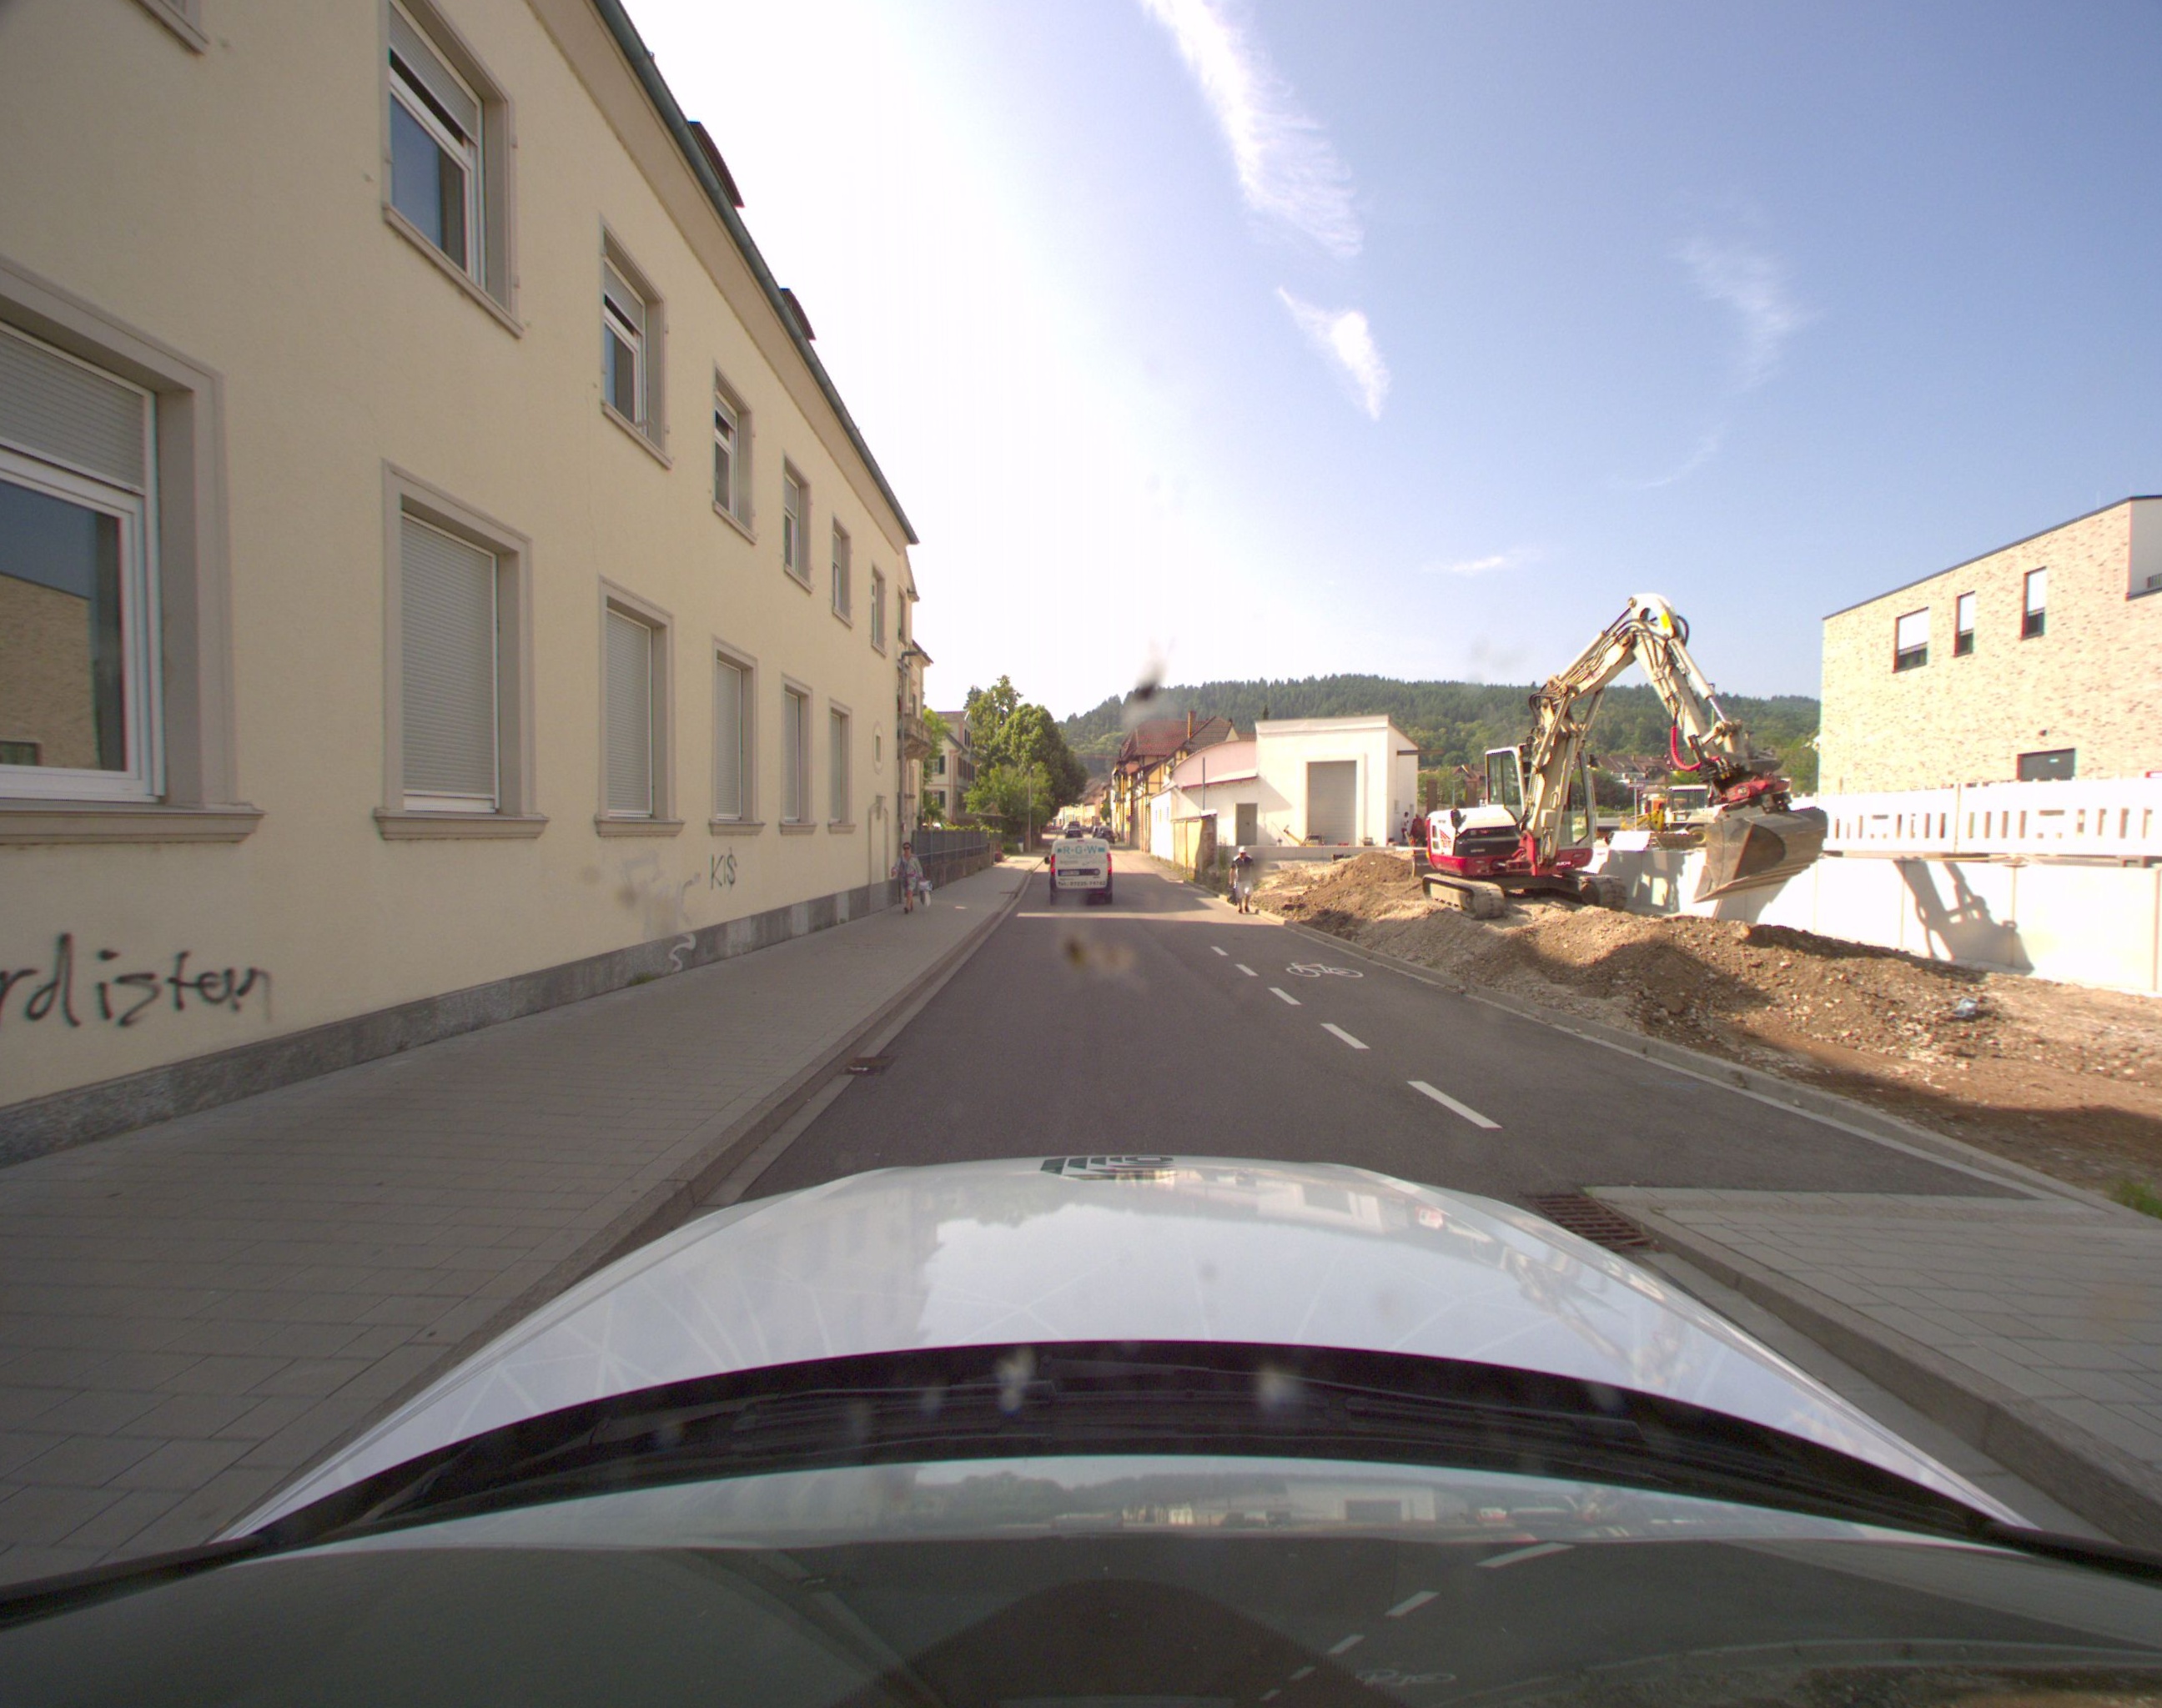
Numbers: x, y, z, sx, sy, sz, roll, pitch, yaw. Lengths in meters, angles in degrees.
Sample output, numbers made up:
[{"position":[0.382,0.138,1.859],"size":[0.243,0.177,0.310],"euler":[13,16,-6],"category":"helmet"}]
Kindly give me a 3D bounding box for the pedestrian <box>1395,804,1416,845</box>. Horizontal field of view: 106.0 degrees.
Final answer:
[{"position":[15.384,-1.401,38.633],"size":[0.611,1.896,0.628],"euler":[0,3,-44],"category":"pedestrian"}]

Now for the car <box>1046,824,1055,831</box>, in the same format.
[{"position":[-8.326,-7.216,220.877],"size":[1.773,1.798,3.985],"euler":[0,2,-12],"category":"car"}]

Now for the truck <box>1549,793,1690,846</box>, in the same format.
[{"position":[25.179,-1.572,38.343],"size":[5.266,2.265,2.232],"euler":[-1,1,25],"category":"truck"}]

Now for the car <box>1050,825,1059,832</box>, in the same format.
[{"position":[-7.123,-6.852,215.523],"size":[1.773,1.798,3.985],"euler":[0,2,-12],"category":"car"}]

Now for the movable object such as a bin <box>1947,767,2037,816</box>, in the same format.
[{"position":[29.119,-1.989,26.068],"size":[1.291,1.463,1.324],"euler":[3,2,9],"category":"movable object such as a bin"}]

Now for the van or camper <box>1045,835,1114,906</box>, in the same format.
[{"position":[-0.086,0.392,24.181],"size":[1.823,1.844,4.186],"euler":[-1,2,-2],"category":"van or camper"}]

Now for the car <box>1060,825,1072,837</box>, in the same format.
[{"position":[-3.727,-5.774,202.020],"size":[2.868,2.835,6.120],"euler":[0,2,-2],"category":"car"}]

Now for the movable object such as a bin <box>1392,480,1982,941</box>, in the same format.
[{"position":[6.656,-1.318,10.878],"size":[2.285,3.853,7.807],"euler":[3,1,4],"category":"movable object such as a bin"}]

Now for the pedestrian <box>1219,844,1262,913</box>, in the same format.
[{"position":[4.027,0.616,20.574],"size":[0.886,1.683,0.718],"euler":[2,0,-1],"category":"pedestrian"}]

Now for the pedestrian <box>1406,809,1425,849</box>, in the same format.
[{"position":[16.178,-1.199,39.369],"size":[0.628,1.896,0.612],"euler":[4,3,37],"category":"pedestrian"}]

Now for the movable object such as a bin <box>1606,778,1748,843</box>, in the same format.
[{"position":[25.100,-1.779,34.512],"size":[4.570,2.569,1.936],"euler":[-1,1,25],"category":"movable object such as a bin"}]

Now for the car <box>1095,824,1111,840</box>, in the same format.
[{"position":[2.817,-2.870,105.070],"size":[1.866,2.013,3.999],"euler":[1,2,-1],"category":"car"}]

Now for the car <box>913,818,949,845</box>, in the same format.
[{"position":[-10.953,-1.695,59.753],"size":[1.818,1.772,4.679],"euler":[4,2,-2],"category":"car"}]

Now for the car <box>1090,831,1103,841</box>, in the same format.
[{"position":[2.260,-2.723,121.521],"size":[1.665,1.507,3.997],"euler":[0,2,-2],"category":"car"}]

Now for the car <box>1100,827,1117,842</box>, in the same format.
[{"position":[3.143,-2.278,94.968],"size":[1.805,1.596,3.927],"euler":[3,2,0],"category":"car"}]

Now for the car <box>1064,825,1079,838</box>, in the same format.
[{"position":[-1.331,-3.031,108.535],"size":[1.806,1.596,3.923],"euler":[3,2,-3],"category":"car"}]

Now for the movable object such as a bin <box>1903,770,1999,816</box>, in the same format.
[{"position":[29.381,-2.045,27.548],"size":[1.683,1.463,1.324],"euler":[3,2,9],"category":"movable object such as a bin"}]

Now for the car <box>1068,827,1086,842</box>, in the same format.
[{"position":[-0.478,-2.161,89.547],"size":[1.806,1.596,3.924],"euler":[3,2,-3],"category":"car"}]

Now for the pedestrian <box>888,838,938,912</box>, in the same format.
[{"position":[-3.794,0.454,18.423],"size":[0.955,1.631,0.758],"euler":[1,1,-1],"category":"pedestrian"}]

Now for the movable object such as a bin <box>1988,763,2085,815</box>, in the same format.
[{"position":[28.801,-1.936,24.583],"size":[1.291,1.463,1.324],"euler":[3,2,9],"category":"movable object such as a bin"}]

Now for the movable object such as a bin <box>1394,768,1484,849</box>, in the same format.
[{"position":[17.671,-2.166,40.024],"size":[2.823,3.620,5.772],"euler":[4,3,34],"category":"movable object such as a bin"}]
